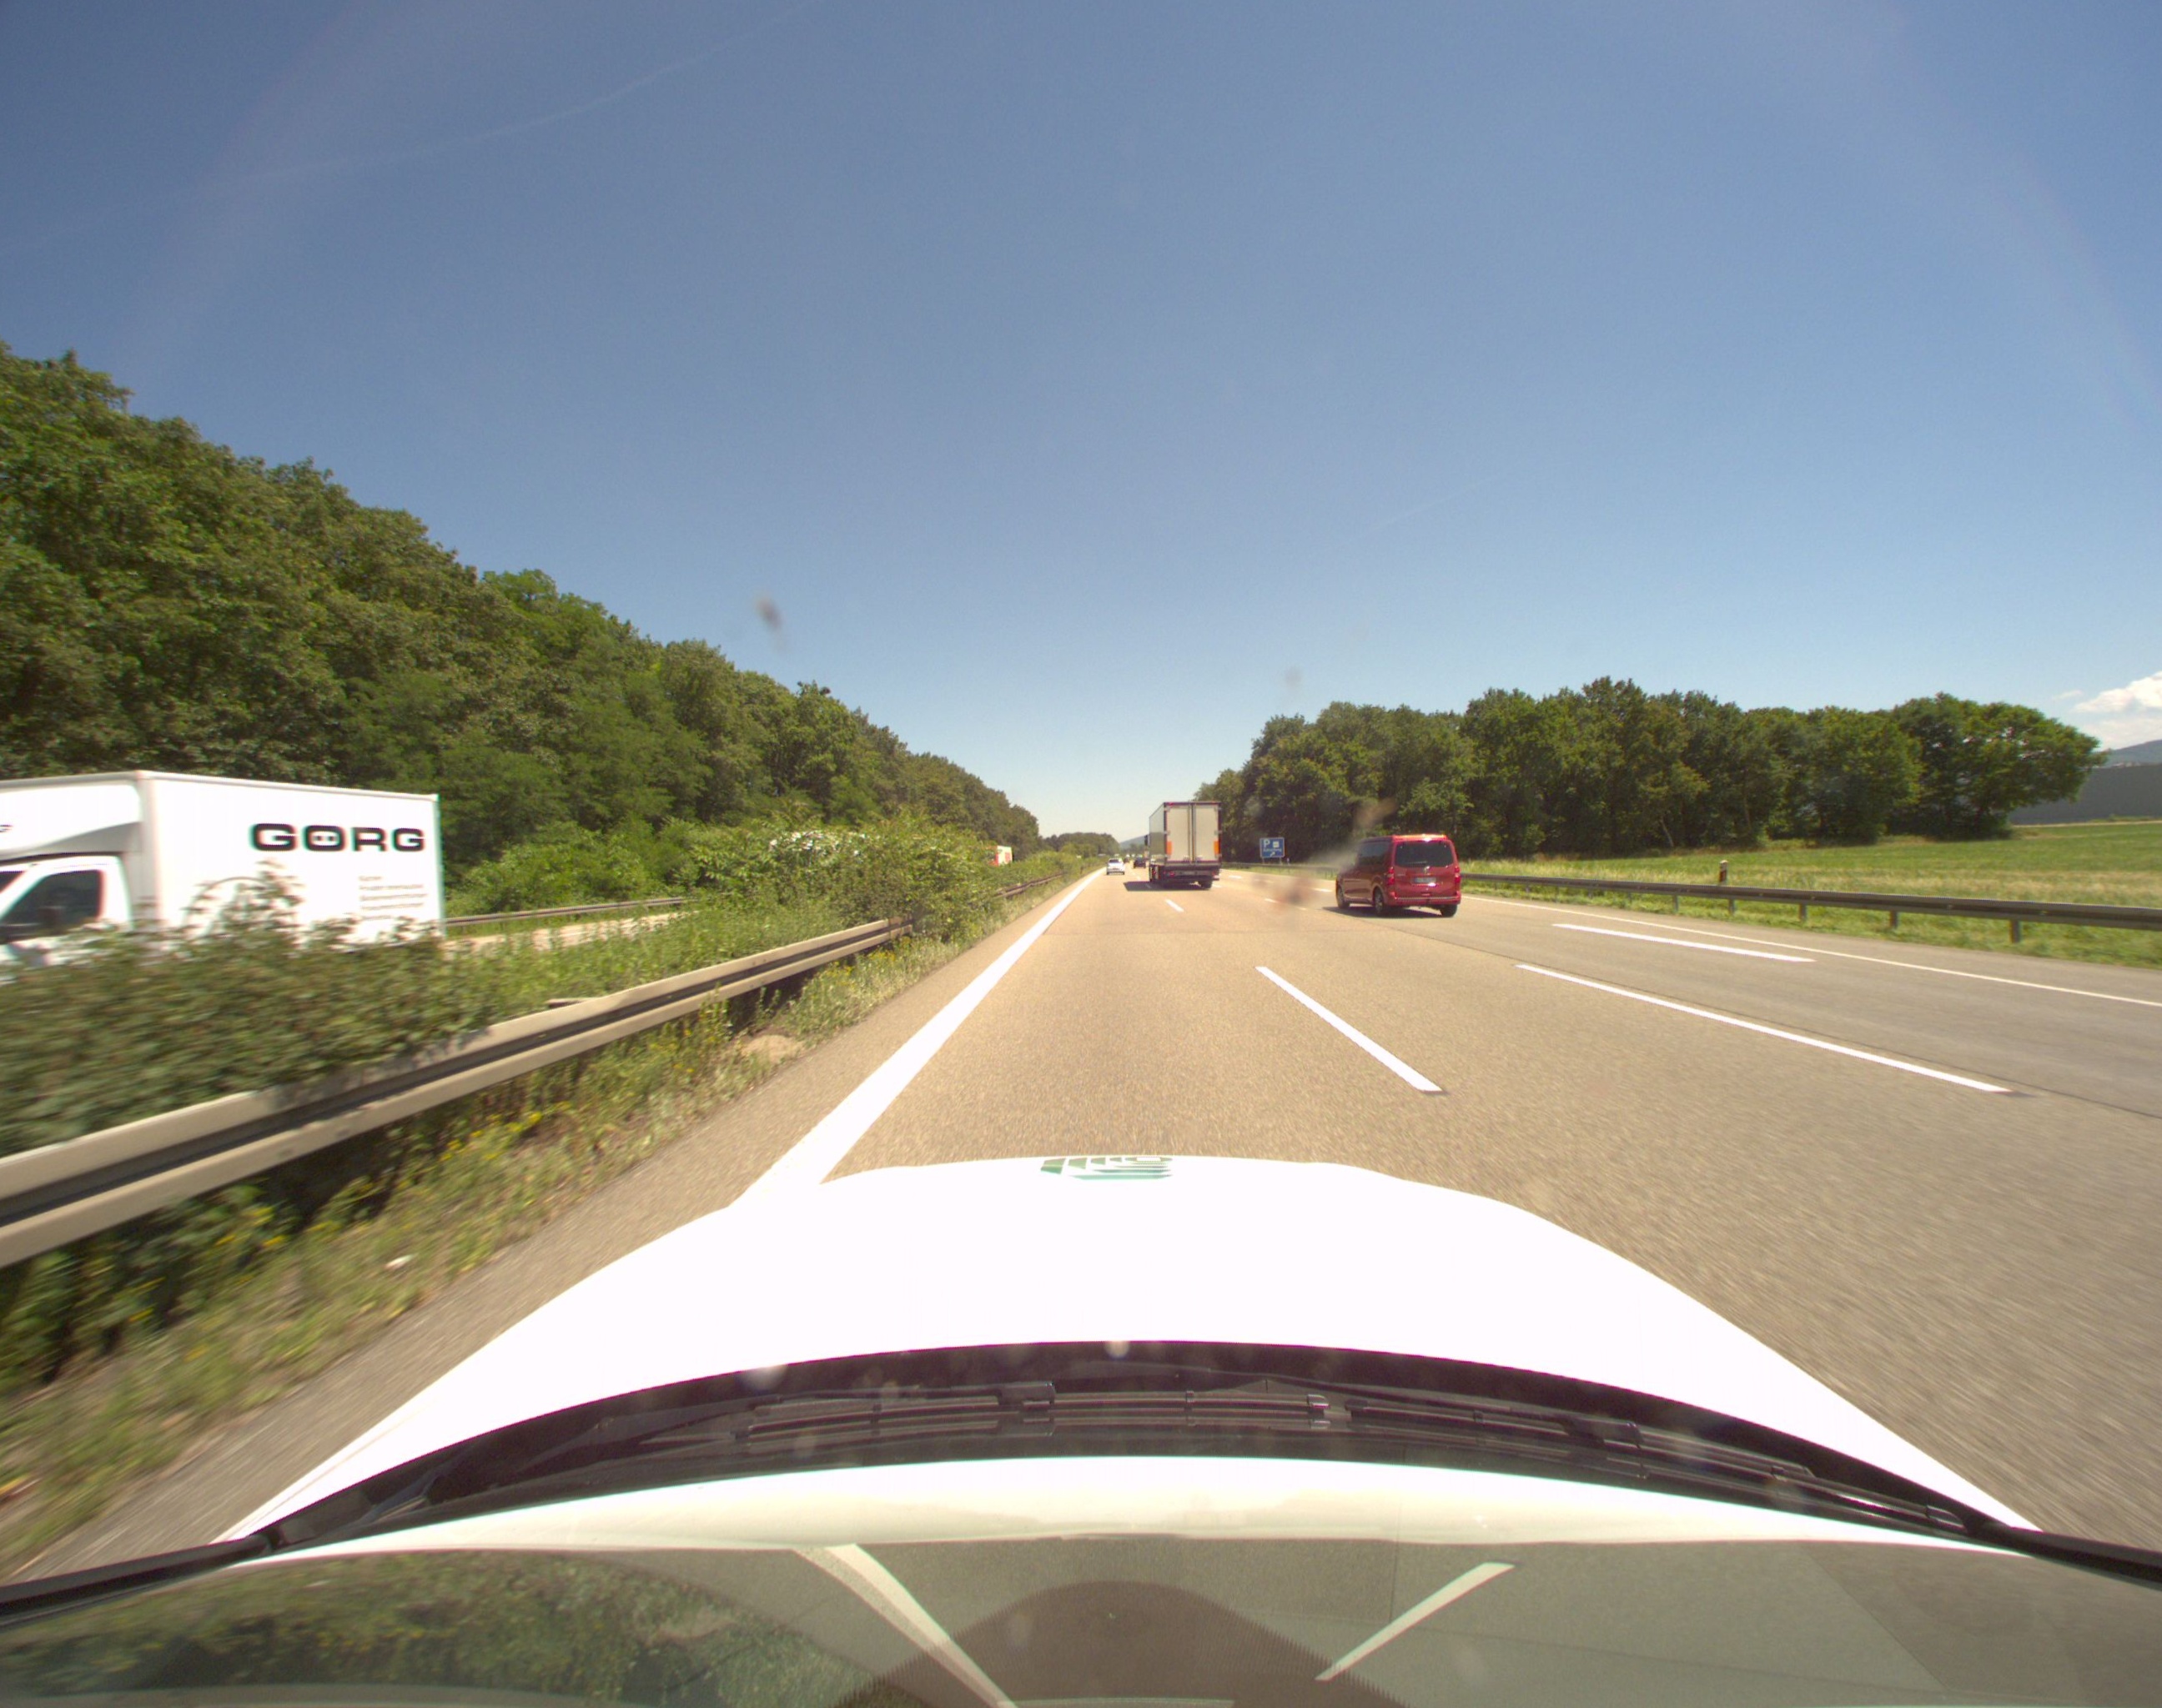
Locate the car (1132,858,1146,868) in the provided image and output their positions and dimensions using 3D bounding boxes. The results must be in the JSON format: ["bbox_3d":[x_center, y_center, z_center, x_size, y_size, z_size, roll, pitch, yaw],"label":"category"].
[{"bbox_3d":[8.389,1.321,117.730,1.658,1.289,4.010,-2,0,9],"label":"car"}]

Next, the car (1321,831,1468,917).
[{"bbox_3d":[8.147,0.484,21.789,1.849,2.003,5.522,0,0,1],"label":"car"}]

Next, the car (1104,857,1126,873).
[{"bbox_3d":[3.127,1.019,75.823,1.806,1.405,3.316,-2,0,-1],"label":"car"}]

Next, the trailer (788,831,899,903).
[{"bbox_3d":[-15.201,0.786,53.576,2.823,4.034,12.921,-3,0,2],"label":"trailer"}]

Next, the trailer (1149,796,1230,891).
[{"bbox_3d":[5.354,-0.466,42.440,3.210,4.143,12.363,-2,0,4],"label":"trailer"}]

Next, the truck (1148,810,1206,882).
[{"bbox_3d":[5.845,-0.471,50.313,3.215,4.157,4.564,-2,0,3],"label":"truck"}]

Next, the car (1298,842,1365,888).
[{"bbox_3d":[11.737,0.502,38.365,1.986,2.013,4.001,-1,0,1],"label":"car"}]

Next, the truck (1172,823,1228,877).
[{"bbox_3d":[10.344,-0.284,72.256,3.214,4.345,10.804,-2,0,0],"label":"truck"}]

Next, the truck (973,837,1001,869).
[{"bbox_3d":[-12.129,-0.139,105.675,2.910,4.050,4.296,-1,0,1],"label":"truck"}]

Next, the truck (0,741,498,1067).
[{"bbox_3d":[-12.275,0.589,11.760,2.402,3.353,7.000,-4,0,1],"label":"truck"}]

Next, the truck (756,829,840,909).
[{"bbox_3d":[-15.573,0.805,45.151,2.823,4.034,4.187,-3,-1,2],"label":"truck"}]

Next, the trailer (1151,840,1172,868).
[{"bbox_3d":[14.035,0.076,143.098,3.168,4.627,12.060,-2,0,3],"label":"trailer"}]

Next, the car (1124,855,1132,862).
[{"bbox_3d":[14.098,1.456,243.134,2.100,2.014,4.000,-1,0,1],"label":"car"}]
